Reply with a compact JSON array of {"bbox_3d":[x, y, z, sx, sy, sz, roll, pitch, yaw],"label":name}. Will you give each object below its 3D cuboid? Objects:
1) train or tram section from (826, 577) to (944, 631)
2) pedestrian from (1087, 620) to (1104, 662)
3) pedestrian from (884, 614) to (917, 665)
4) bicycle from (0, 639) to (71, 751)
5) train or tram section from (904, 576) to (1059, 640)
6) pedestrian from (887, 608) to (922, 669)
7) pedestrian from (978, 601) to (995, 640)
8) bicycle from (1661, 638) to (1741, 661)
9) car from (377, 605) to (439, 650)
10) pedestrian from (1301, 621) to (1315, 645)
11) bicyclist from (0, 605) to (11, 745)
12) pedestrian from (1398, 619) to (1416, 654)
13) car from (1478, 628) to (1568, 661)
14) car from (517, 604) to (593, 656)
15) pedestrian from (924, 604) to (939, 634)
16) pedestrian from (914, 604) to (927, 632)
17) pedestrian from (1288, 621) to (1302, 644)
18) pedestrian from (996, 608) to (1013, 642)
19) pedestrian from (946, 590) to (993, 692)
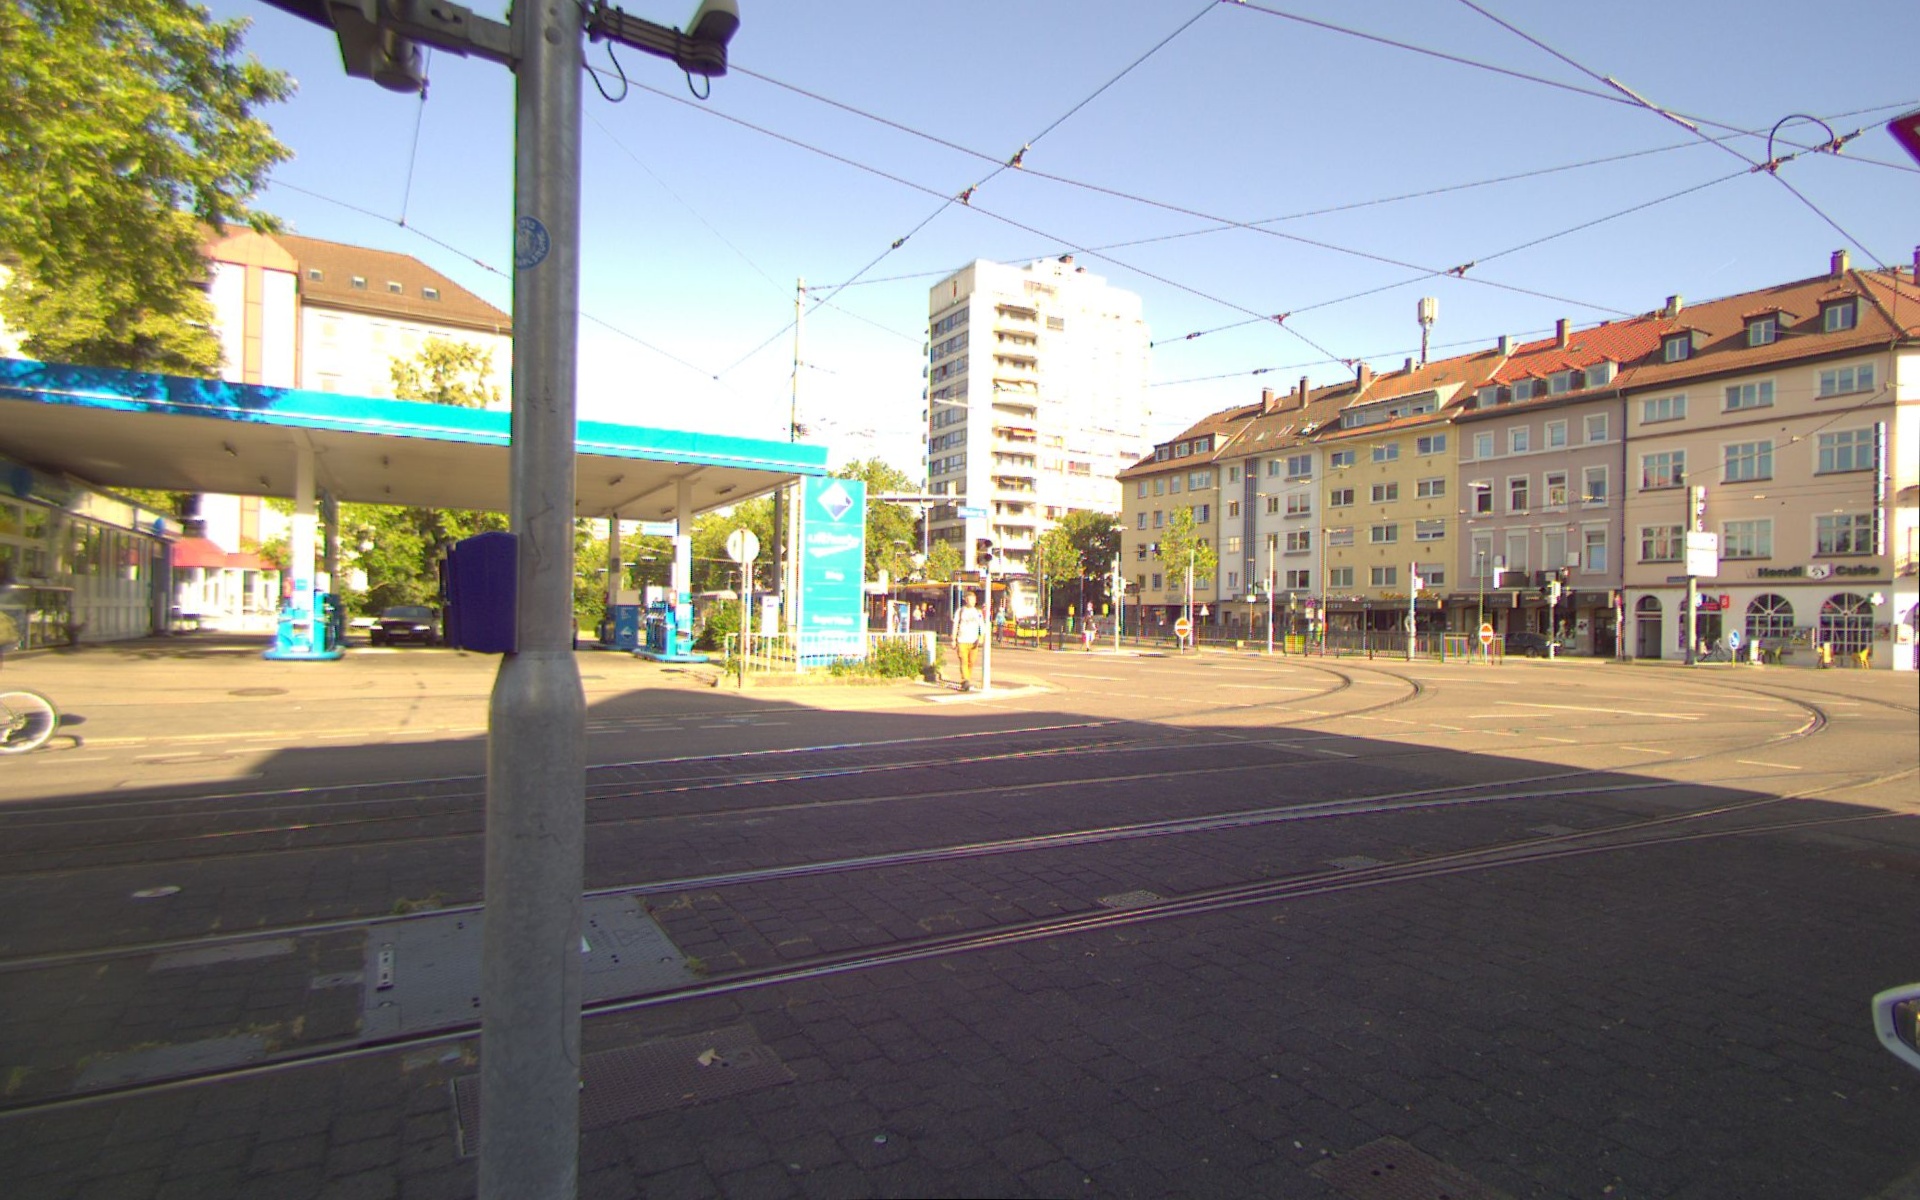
[{"bbox_3d":[-5.339,0.207,68.061,2.751,3.273,12.286,2,0,-31],"label":"train or tram section"},{"bbox_3d":[5.520,1.664,41.013,0.575,1.686,0.525,2,0,15],"label":"pedestrian"},{"bbox_3d":[-1.926,1.281,32.618,0.694,1.608,0.820,0,-1,37],"label":"pedestrian"},{"bbox_3d":[-10.037,0.948,9.942,0.567,1.084,1.785,2,0,42],"label":"bicycle"},{"bbox_3d":[0.890,0.361,57.600,2.751,3.273,12.286,2,0,-31],"label":"train or tram section"},{"bbox_3d":[-1.534,1.064,27.963,0.675,1.656,0.694,2,0,-35],"label":"pedestrian"},{"bbox_3d":[1.312,1.027,49.849,0.666,1.913,0.520,2,0,-31],"label":"pedestrian"},{"bbox_3d":[37.499,2.495,50.897,0.989,0.993,3.115,2,0,-29],"label":"bicycle"},{"bbox_3d":[-17.976,0.878,32.711,1.646,1.316,3.453,2,0,-30],"label":"car"},{"bbox_3d":[24.511,2.331,70.740,0.693,1.656,0.629,2,0,-33],"label":"pedestrian"},{"bbox_3d":[-9.997,0.740,9.951,0.552,1.384,0.798,2,0,42],"label":"bicyclist"},{"bbox_3d":[21.233,1.728,47.747,0.570,1.649,0.522,2,0,-31],"label":"pedestrian"},{"bbox_3d":[30.854,2.421,55.141,1.970,1.692,3.981,1,-1,-21],"label":"car"},{"bbox_3d":[-12.140,0.865,29.982,1.764,1.411,3.455,2,0,-28],"label":"car"},{"bbox_3d":[-1.598,1.068,56.016,0.580,1.613,0.520,2,0,-31],"label":"pedestrian"},{"bbox_3d":[-2.288,1.058,58.181,0.580,1.613,0.520,2,0,-31],"label":"pedestrian"},{"bbox_3d":[24.544,2.346,73.659,0.693,1.656,0.629,2,0,-33],"label":"pedestrian"},{"bbox_3d":[2.157,1.216,48.752,0.580,1.613,0.520,2,0,-31],"label":"pedestrian"},{"bbox_3d":[0.186,0.773,19.222,0.778,1.893,0.674,2,0,6],"label":"pedestrian"}]
